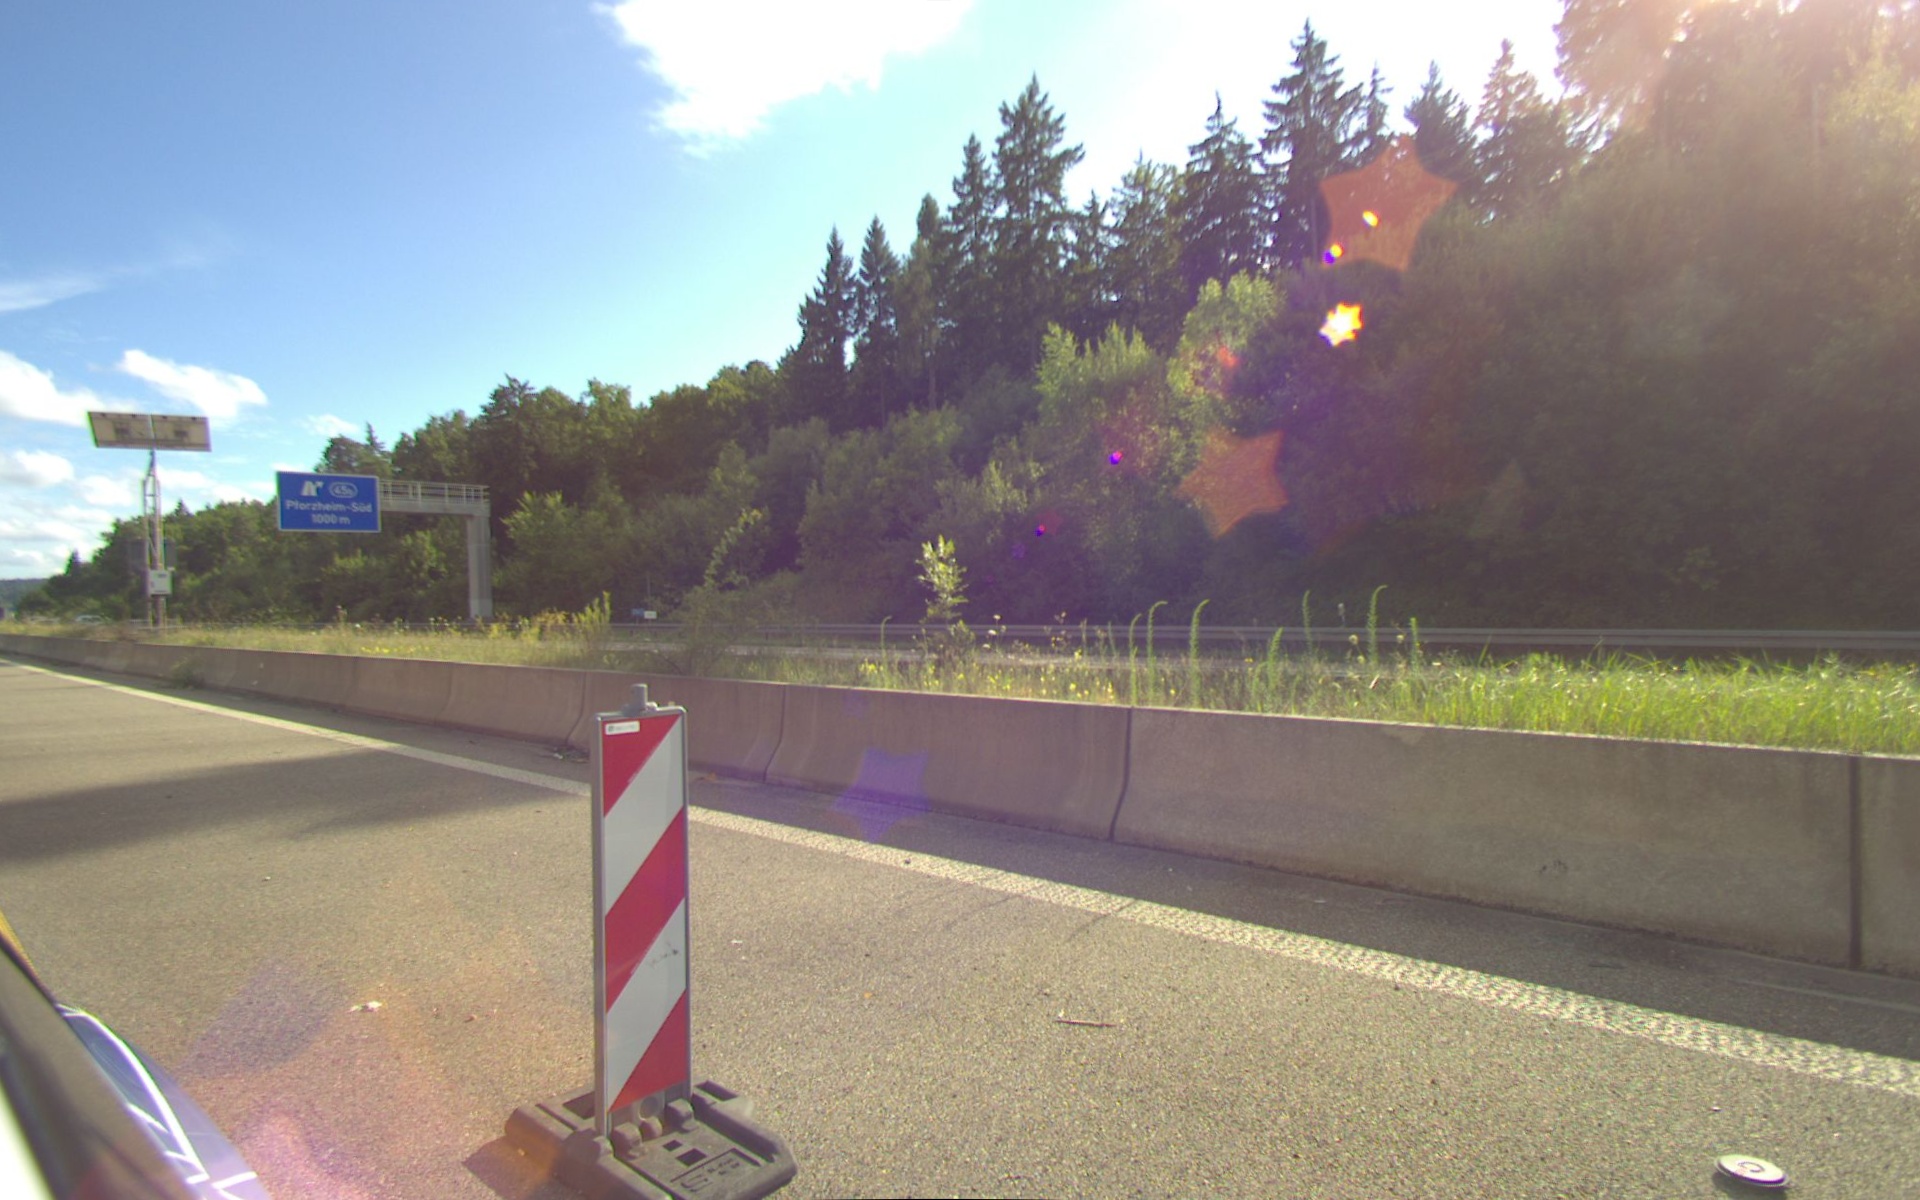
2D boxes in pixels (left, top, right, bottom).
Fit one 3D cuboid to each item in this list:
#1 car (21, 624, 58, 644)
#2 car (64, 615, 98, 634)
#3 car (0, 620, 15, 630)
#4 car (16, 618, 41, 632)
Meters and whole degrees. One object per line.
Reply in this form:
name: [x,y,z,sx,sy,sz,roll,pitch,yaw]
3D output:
car: [-68.615,2.499,75.423,3.911,1.398,1.643,-1,0,42]
car: [-75.299,2.084,86.721,3.909,1.593,1.643,-1,0,41]
car: [-143.929,3.792,152.352,3.909,1.475,1.920,-1,0,40]
car: [-103.069,2.749,111.971,3.909,1.398,1.643,-1,0,41]
